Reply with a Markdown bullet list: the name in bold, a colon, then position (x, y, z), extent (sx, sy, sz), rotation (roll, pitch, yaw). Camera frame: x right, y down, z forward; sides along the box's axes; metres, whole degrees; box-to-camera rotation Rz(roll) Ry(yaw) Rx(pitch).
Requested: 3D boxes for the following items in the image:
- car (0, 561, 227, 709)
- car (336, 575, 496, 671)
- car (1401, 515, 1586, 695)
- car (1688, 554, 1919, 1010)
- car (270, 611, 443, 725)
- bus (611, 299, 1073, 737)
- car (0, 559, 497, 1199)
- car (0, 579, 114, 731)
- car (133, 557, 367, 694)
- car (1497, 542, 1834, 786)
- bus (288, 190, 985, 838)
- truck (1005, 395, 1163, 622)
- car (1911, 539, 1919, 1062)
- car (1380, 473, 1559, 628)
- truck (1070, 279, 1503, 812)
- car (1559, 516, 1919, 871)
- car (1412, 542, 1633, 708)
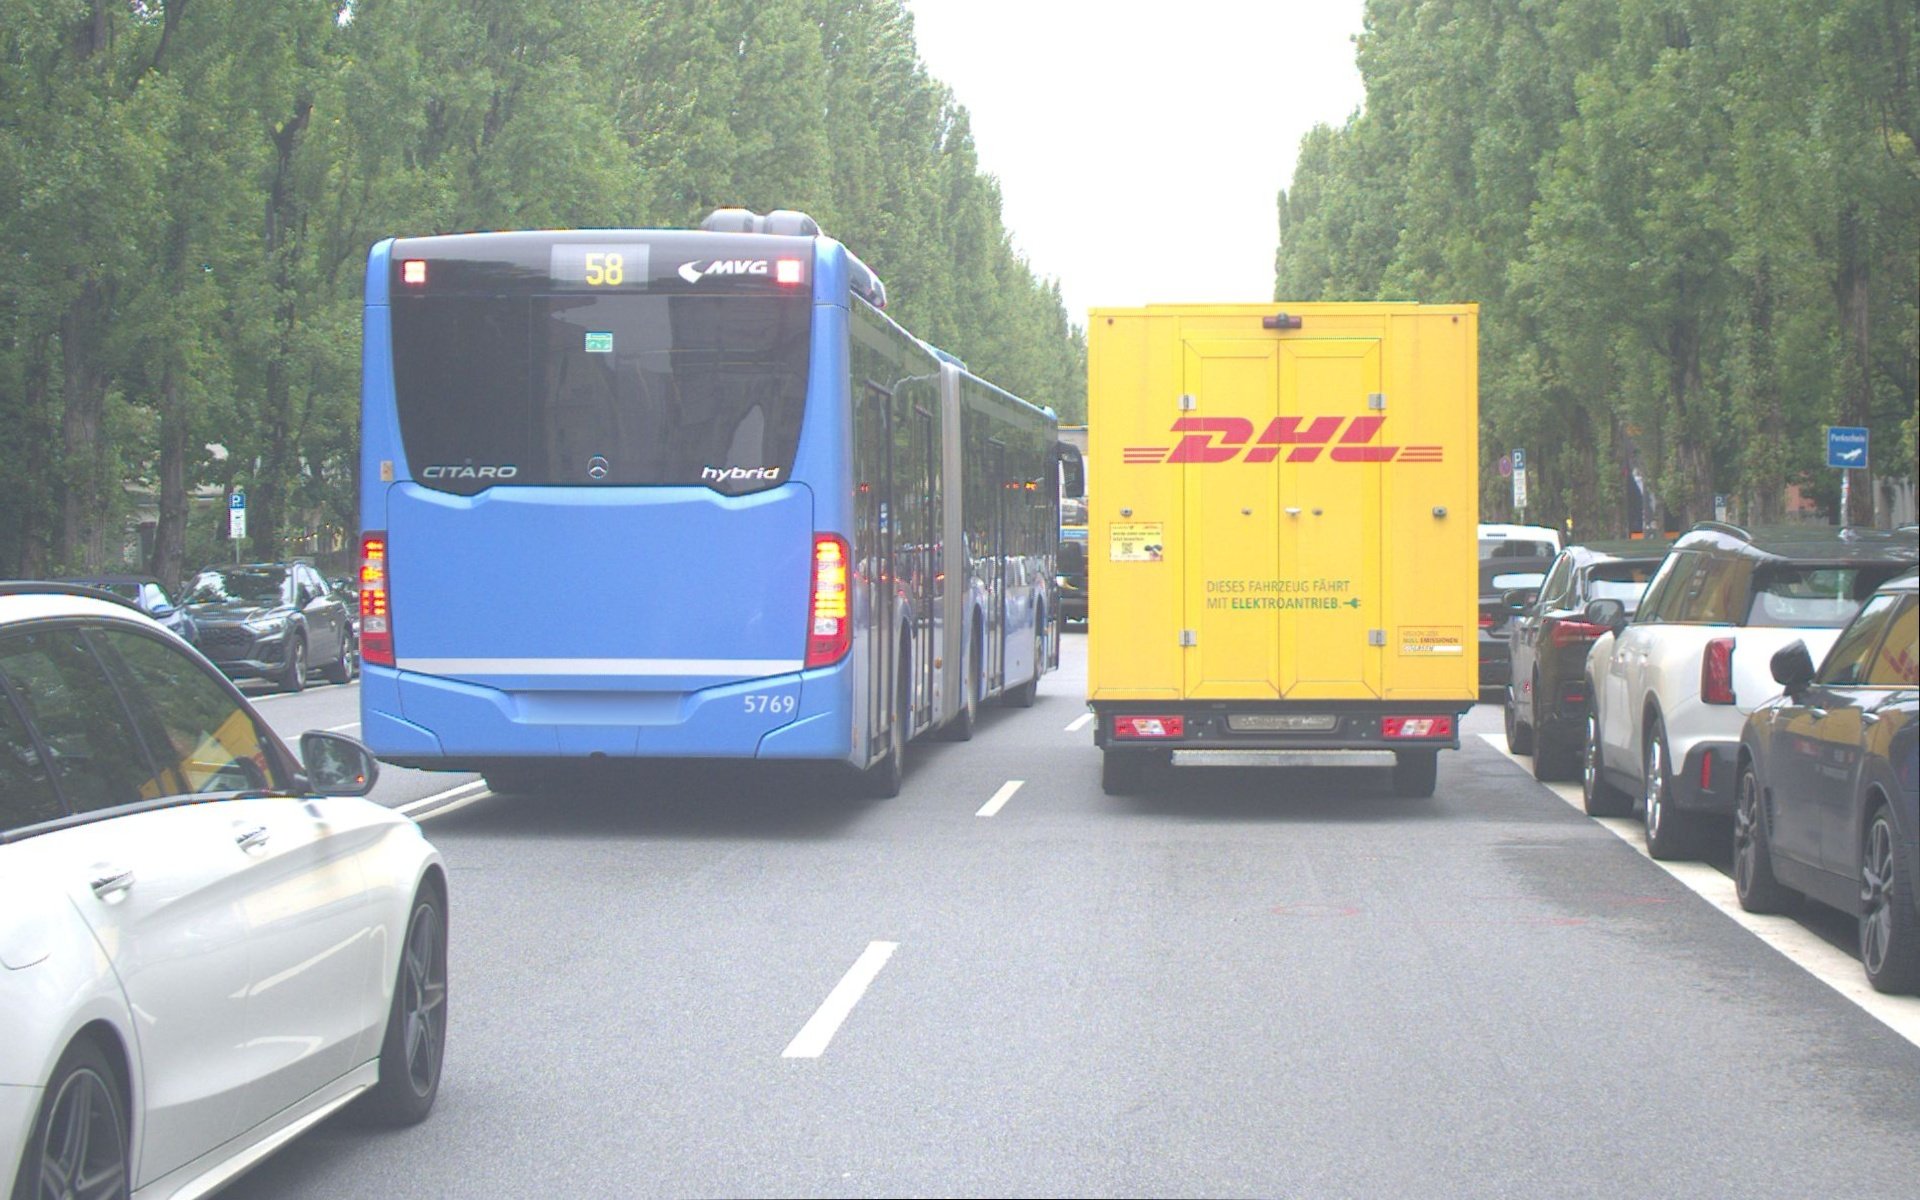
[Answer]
- **car**: position (-9.540, 0.351, 38.634), extent (1.743, 1.513, 4.118), rotation (-2, 1, -1)
- **car**: position (-8.596, 0.339, 54.578), extent (1.675, 1.408, 4.000), rotation (-1, 1, 3)
- **car**: position (6.112, 0.018, 39.790), extent (1.806, 1.969, 4.236), rotation (0, 1, 5)
- **car**: position (3.896, 0.572, 12.937), extent (1.633, 1.441, 4.148), rotation (2, 1, 4)
- **car**: position (-8.678, 0.949, 49.679), extent (1.539, 1.428, 3.869), rotation (-4, 1, 3)
- **bus**: position (-0.743, -0.692, 30.927), extent (2.872, 3.292, 9.788), rotation (0, 1, 6)
- **car**: position (-2.355, 0.646, 7.231), extent (1.826, 1.449, 4.582), rotation (0, 1, 4)
- **car**: position (-9.883, 0.548, 34.244), extent (1.685, 1.408, 4.004), rotation (-2, 1, 3)
- **car**: position (-8.993, 0.286, 43.912), extent (1.791, 1.542, 4.338), rotation (-4, 1, 3)
- **car**: position (4.657, 0.361, 23.224), extent (1.725, 1.490, 4.323), rotation (0, 1, 5)
- **bus**: position (-1.587, -0.504, 21.621), extent (2.856, 3.202, 9.058), rotation (0, 1, 4)
- **truck**: position (2.334, -1.677, 65.063), extent (2.716, 3.952, 9.218), rotation (-1, 1, 2)
- **car**: position (3.460, 0.612, 7.855), extent (1.651, 1.498, 4.113), rotation (0, 1, 4)
- **car**: position (7.041, -0.711, 48.015), extent (2.053, 2.007, 5.692), rotation (-1, 1, 5)
- **truck**: position (2.000, -0.348, 22.403), extent (2.328, 2.888, 7.332), rotation (0, 1, 4)
- **car**: position (4.216, 0.395, 17.605), extent (1.781, 1.576, 4.146), rotation (1, 1, 4)
- **car**: position (5.544, 0.203, 34.306), extent (1.863, 1.546, 3.999), rotation (0, 1, 5)
